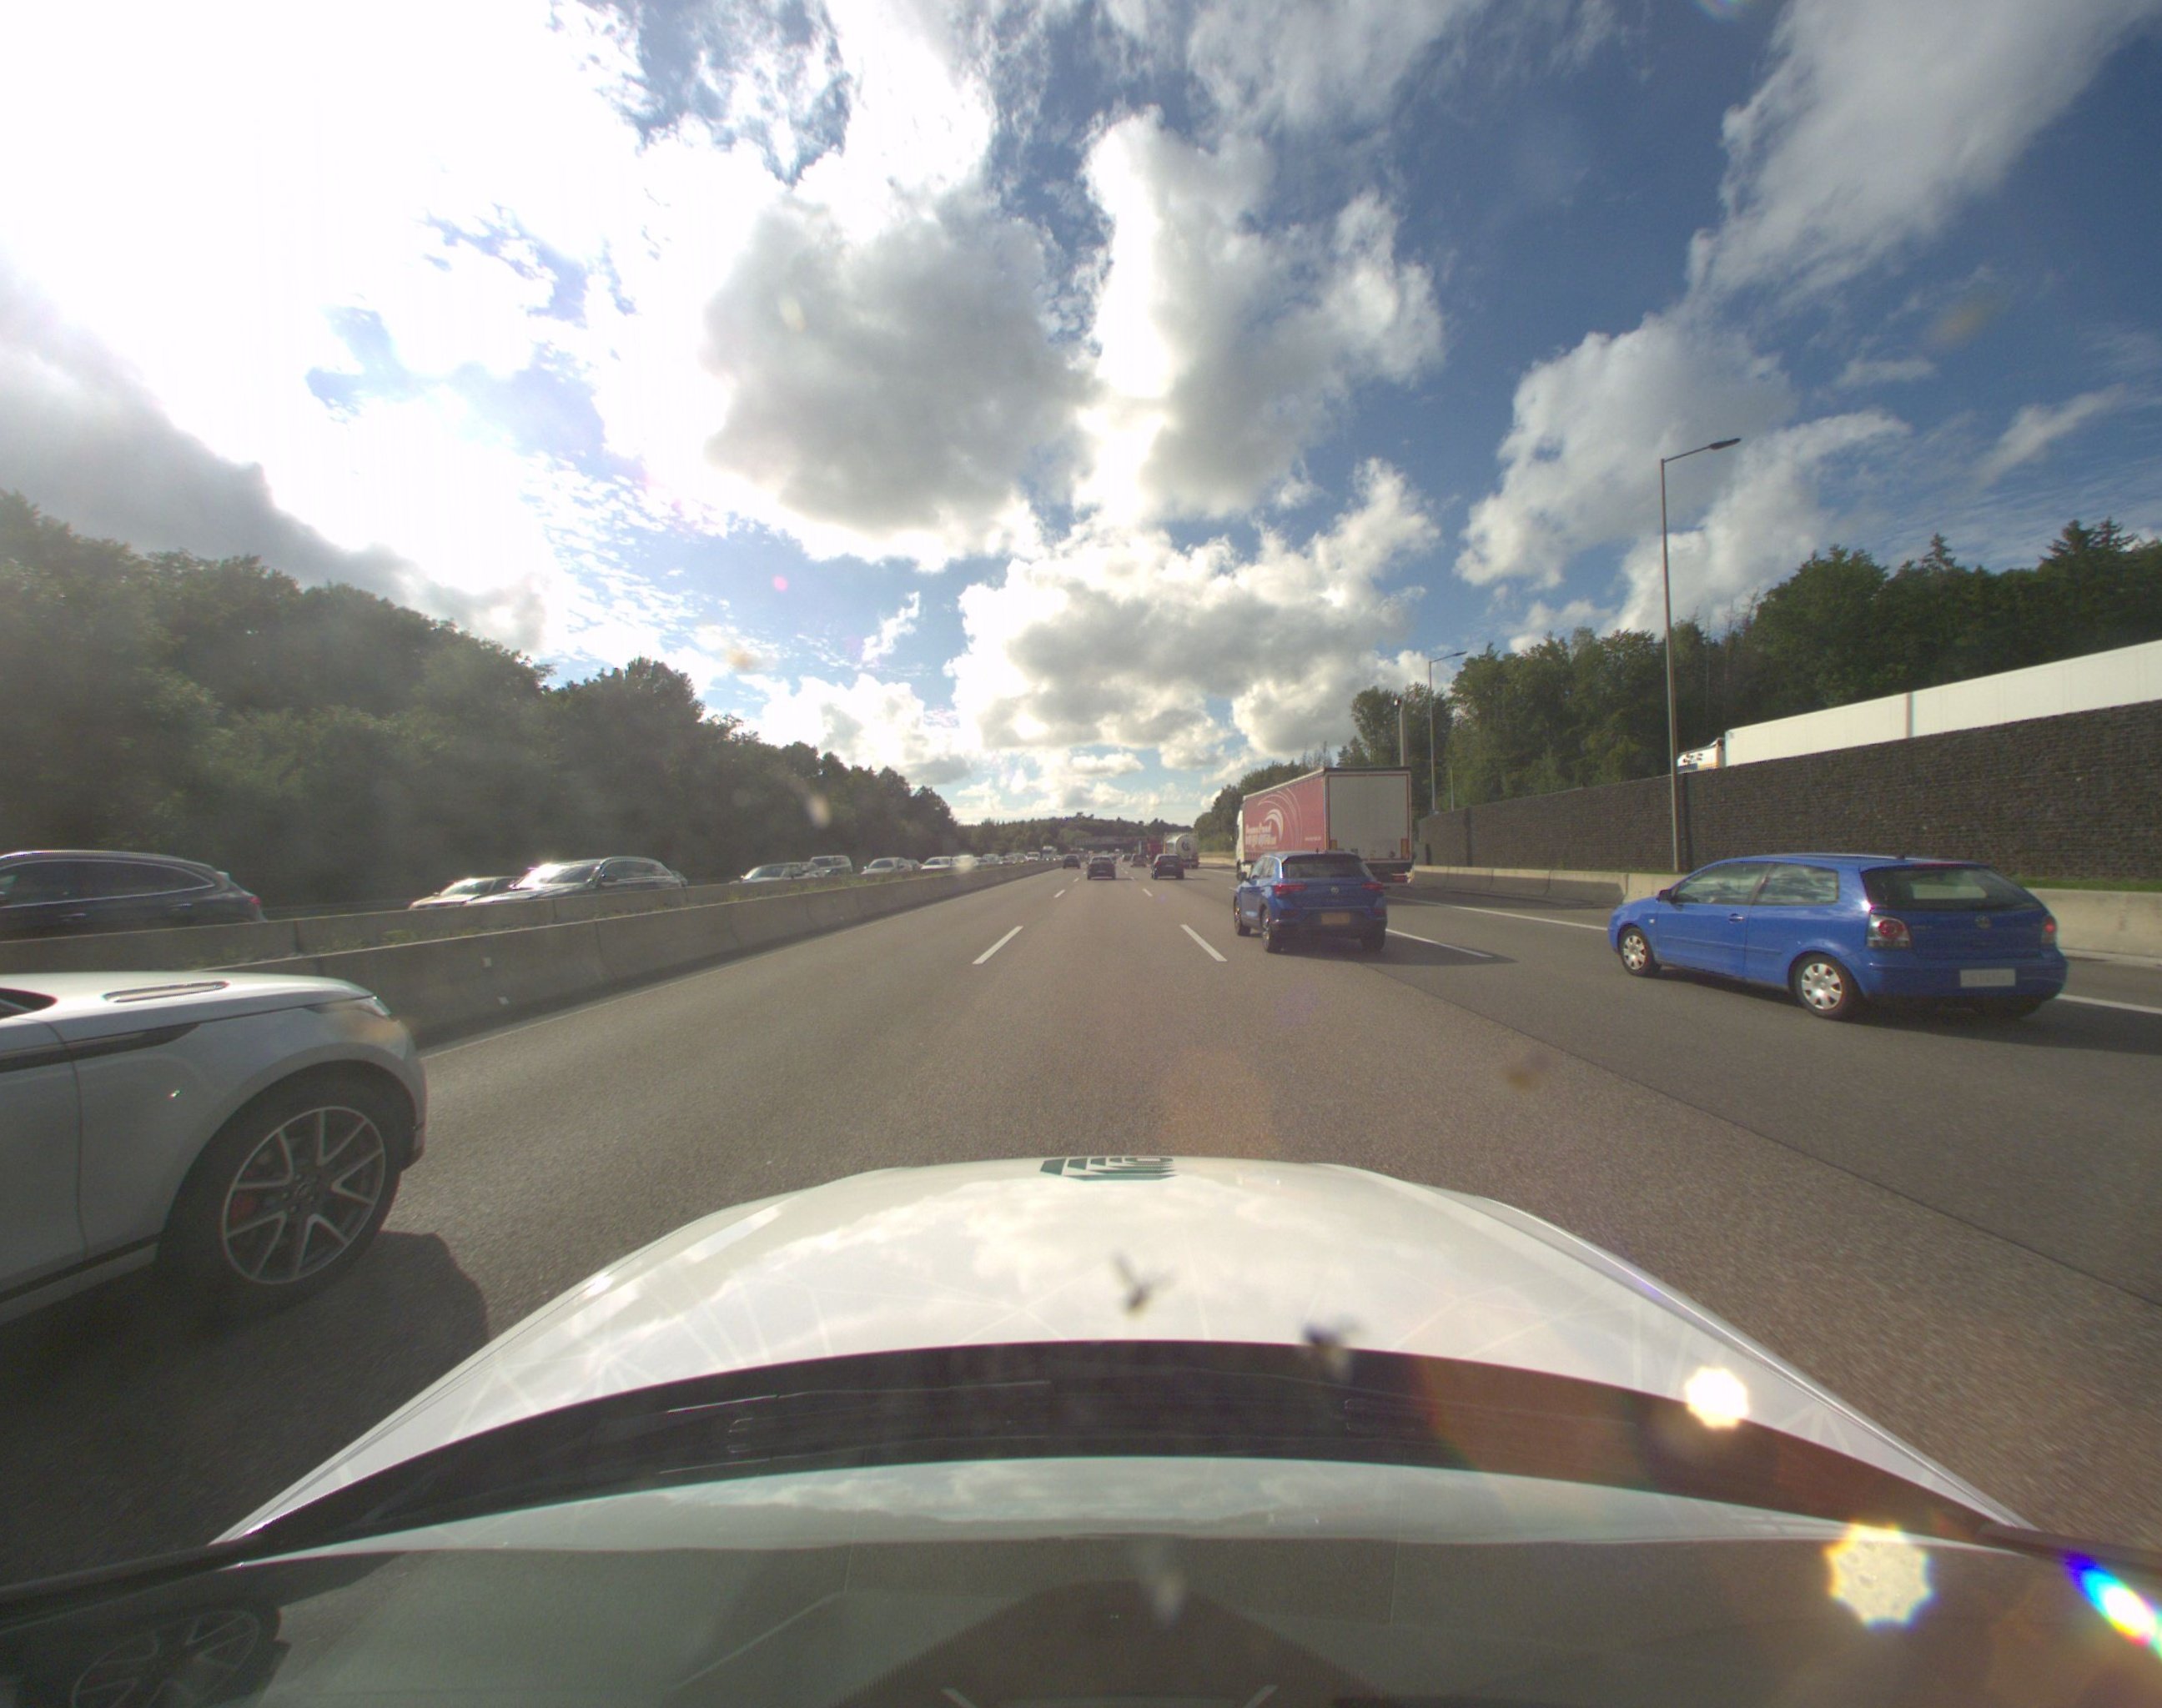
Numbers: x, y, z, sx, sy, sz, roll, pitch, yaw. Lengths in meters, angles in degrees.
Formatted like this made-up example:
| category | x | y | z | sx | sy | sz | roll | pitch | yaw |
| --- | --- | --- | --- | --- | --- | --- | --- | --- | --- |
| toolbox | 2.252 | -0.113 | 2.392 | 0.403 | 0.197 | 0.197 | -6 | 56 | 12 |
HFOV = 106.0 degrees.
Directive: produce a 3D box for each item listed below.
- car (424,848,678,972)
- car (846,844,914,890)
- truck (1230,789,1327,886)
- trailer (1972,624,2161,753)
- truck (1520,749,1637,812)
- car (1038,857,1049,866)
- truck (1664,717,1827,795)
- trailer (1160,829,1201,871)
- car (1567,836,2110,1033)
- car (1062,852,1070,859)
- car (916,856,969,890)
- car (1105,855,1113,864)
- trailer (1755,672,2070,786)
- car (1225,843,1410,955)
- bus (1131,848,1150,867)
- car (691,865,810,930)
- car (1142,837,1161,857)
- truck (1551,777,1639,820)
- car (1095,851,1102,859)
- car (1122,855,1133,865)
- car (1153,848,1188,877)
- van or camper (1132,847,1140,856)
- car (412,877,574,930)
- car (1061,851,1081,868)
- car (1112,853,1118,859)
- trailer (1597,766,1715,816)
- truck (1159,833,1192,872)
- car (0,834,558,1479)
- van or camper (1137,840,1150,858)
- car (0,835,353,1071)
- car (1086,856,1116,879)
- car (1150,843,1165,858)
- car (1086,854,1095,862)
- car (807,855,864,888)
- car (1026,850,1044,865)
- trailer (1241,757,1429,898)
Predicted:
| category | x | y | z | sx | sy | sz | roll | pitch | yaw |
| --- | --- | --- | --- | --- | --- | --- | --- | --- | --- |
| car | -9.641 | 0.979 | 15.296 | 1.985 | 2.014 | 4.002 | -1 | -2 | 3 |
| car | -9.289 | 0.651 | 37.937 | 1.985 | 2.014 | 4.002 | -1 | -2 | 3 |
| truck | 8.883 | -0.615 | 37.358 | 3.069 | 4.064 | 6.070 | 0 | -2 | 1 |
| trailer | 21.433 | -3.361 | 15.486 | 2.122 | 2.013 | 6.323 | -2 | 0 | 1 |
| truck | 21.353 | -3.082 | 35.274 | 1.985 | 2.014 | 5.411 | -1 | -2 | 3 |
| car | -8.161 | 1.666 | 177.230 | 1.985 | 2.014 | 4.002 | -1 | -2 | 3 |
| truck | 21.695 | -3.130 | 26.831 | 2.138 | 2.013 | 4.001 | -2 | 0 | 1 |
| trailer | 10.257 | -0.247 | 85.038 | 3.025 | 4.016 | 12.246 | -1 | -1 | 1 |
| car | 7.204 | 0.614 | 8.514 | 1.709 | 1.511 | 4.302 | -1 | 0 | 1 |
| car | -4.137 | 0.408 | 224.925 | 1.985 | 2.013 | 4.003 | -1 | 0 | 3 |
| car | -7.792 | 1.105 | 46.326 | 1.949 | 1.864 | 4.554 | -1 | -2 | 4 |
| car | 6.691 | 1.241 | 194.901 | 1.986 | 2.014 | 4.001 | -2 | -2 | 1 |
| trailer | 21.577 | -3.119 | 21.727 | 2.122 | 2.013 | 6.236 | -2 | 0 | 1 |
| car | 3.754 | 0.668 | 13.868 | 1.917 | 1.541 | 4.647 | -1 | -1 | 2 |
| bus | 6.921 | 0.424 | 95.185 | 1.986 | 2.014 | 4.001 | 0 | -2 | 2 |
| car | -9.881 | 1.285 | 24.712 | 1.811 | 1.794 | 4.002 | -1 | -2 | 3 |
| car | 11.358 | -1.158 | 131.672 | 2.855 | 2.992 | 5.152 | -1 | -2 | 3 |
| truck | 28.431 | -3.044 | 45.243 | 2.210 | 2.013 | 3.996 | -2 | 0 | -3 |
| car | 4.848 | 0.288 | 225.431 | 1.987 | 2.014 | 3.998 | 0 | 0 | -1 |
| car | 9.507 | 1.261 | 166.627 | 1.986 | 2.014 | 4.001 | 0 | -1 | 1 |
| car | 5.304 | 0.526 | 48.732 | 1.792 | 1.644 | 4.002 | 0 | -1 | 2 |
| van or camper | 16.220 | -0.776 | 240.855 | 2.076 | 2.493 | 4.226 | -1 | 0 | 1 |
| car | -17.620 | 1.451 | 24.665 | 1.748 | 1.455 | 4.004 | -1 | -2 | 4 |
| car | -1.127 | 0.621 | 91.385 | 1.986 | 1.776 | 4.002 | -2 | 0 | 2 |
| car | 9.139 | 0.583 | 218.366 | 1.669 | 1.592 | 3.629 | -2 | 0 | 1 |
| trailer | 28.644 | -3.079 | 40.821 | 2.196 | 2.013 | 4.970 | -2 | 0 | -3 |
| truck | 10.454 | -0.128 | 90.813 | 3.034 | 4.160 | 7.129 | -1 | -1 | 2 |
| car | -3.660 | 0.759 | 1.574 | 1.893 | 1.607 | 5.106 | -1 | -1 | 1 |
| van or camper | 12.068 | -0.939 | 157.749 | 2.342 | 3.144 | 5.714 | -1 | -2 | 3 |
| car | -10.177 | 0.878 | 7.877 | 1.985 | 2.014 | 4.550 | -1 | -2 | 3 |
| car | 1.204 | 0.856 | 50.262 | 1.728 | 1.365 | 3.999 | 0 | -1 | 0 |
| car | 11.428 | -0.532 | 121.543 | 1.986 | 2.014 | 4.001 | 0 | -2 | 1 |
| car | 2.237 | 0.955 | 196.839 | 2.146 | 1.776 | 4.002 | 0 | -1 | 2 |
| car | -15.746 | 1.140 | 52.540 | 1.985 | 2.014 | 4.857 | -1 | -2 | 3 |
| car | -6.323 | 0.513 | 112.636 | 1.985 | 1.864 | 4.554 | -1 | -2 | 4 |
| trailer | 8.695 | -0.549 | 30.483 | 3.027 | 4.036 | 13.892 | 0 | -2 | 2 |
